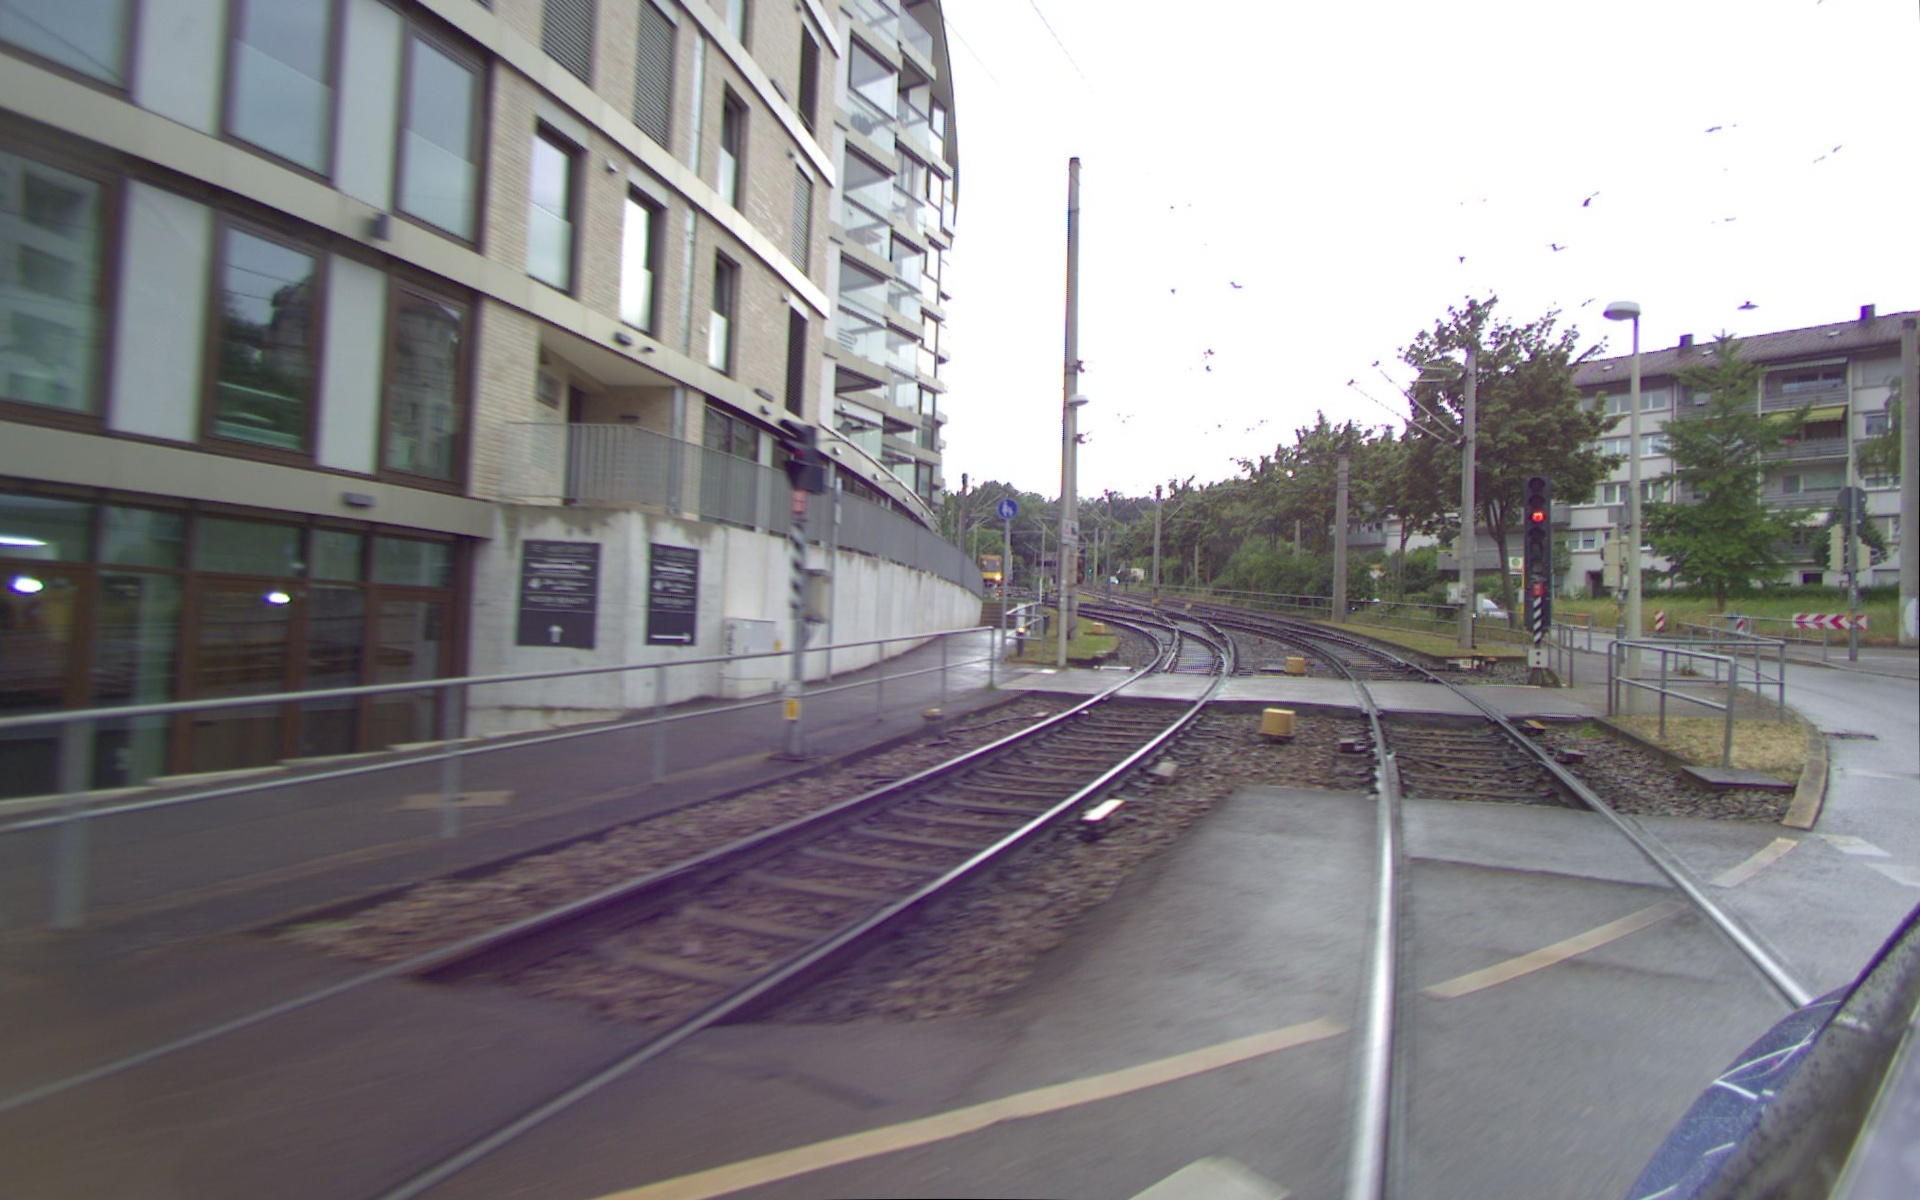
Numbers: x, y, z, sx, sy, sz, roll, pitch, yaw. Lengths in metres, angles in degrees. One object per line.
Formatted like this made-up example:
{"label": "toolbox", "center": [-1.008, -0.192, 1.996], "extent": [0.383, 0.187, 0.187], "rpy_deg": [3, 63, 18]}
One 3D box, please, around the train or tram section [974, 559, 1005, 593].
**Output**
{"label": "train or tram section", "center": [3.487, -2.705, 115.506], "extent": [3.149, 3.605, 14.491], "rpy_deg": [1, 1, 3]}
